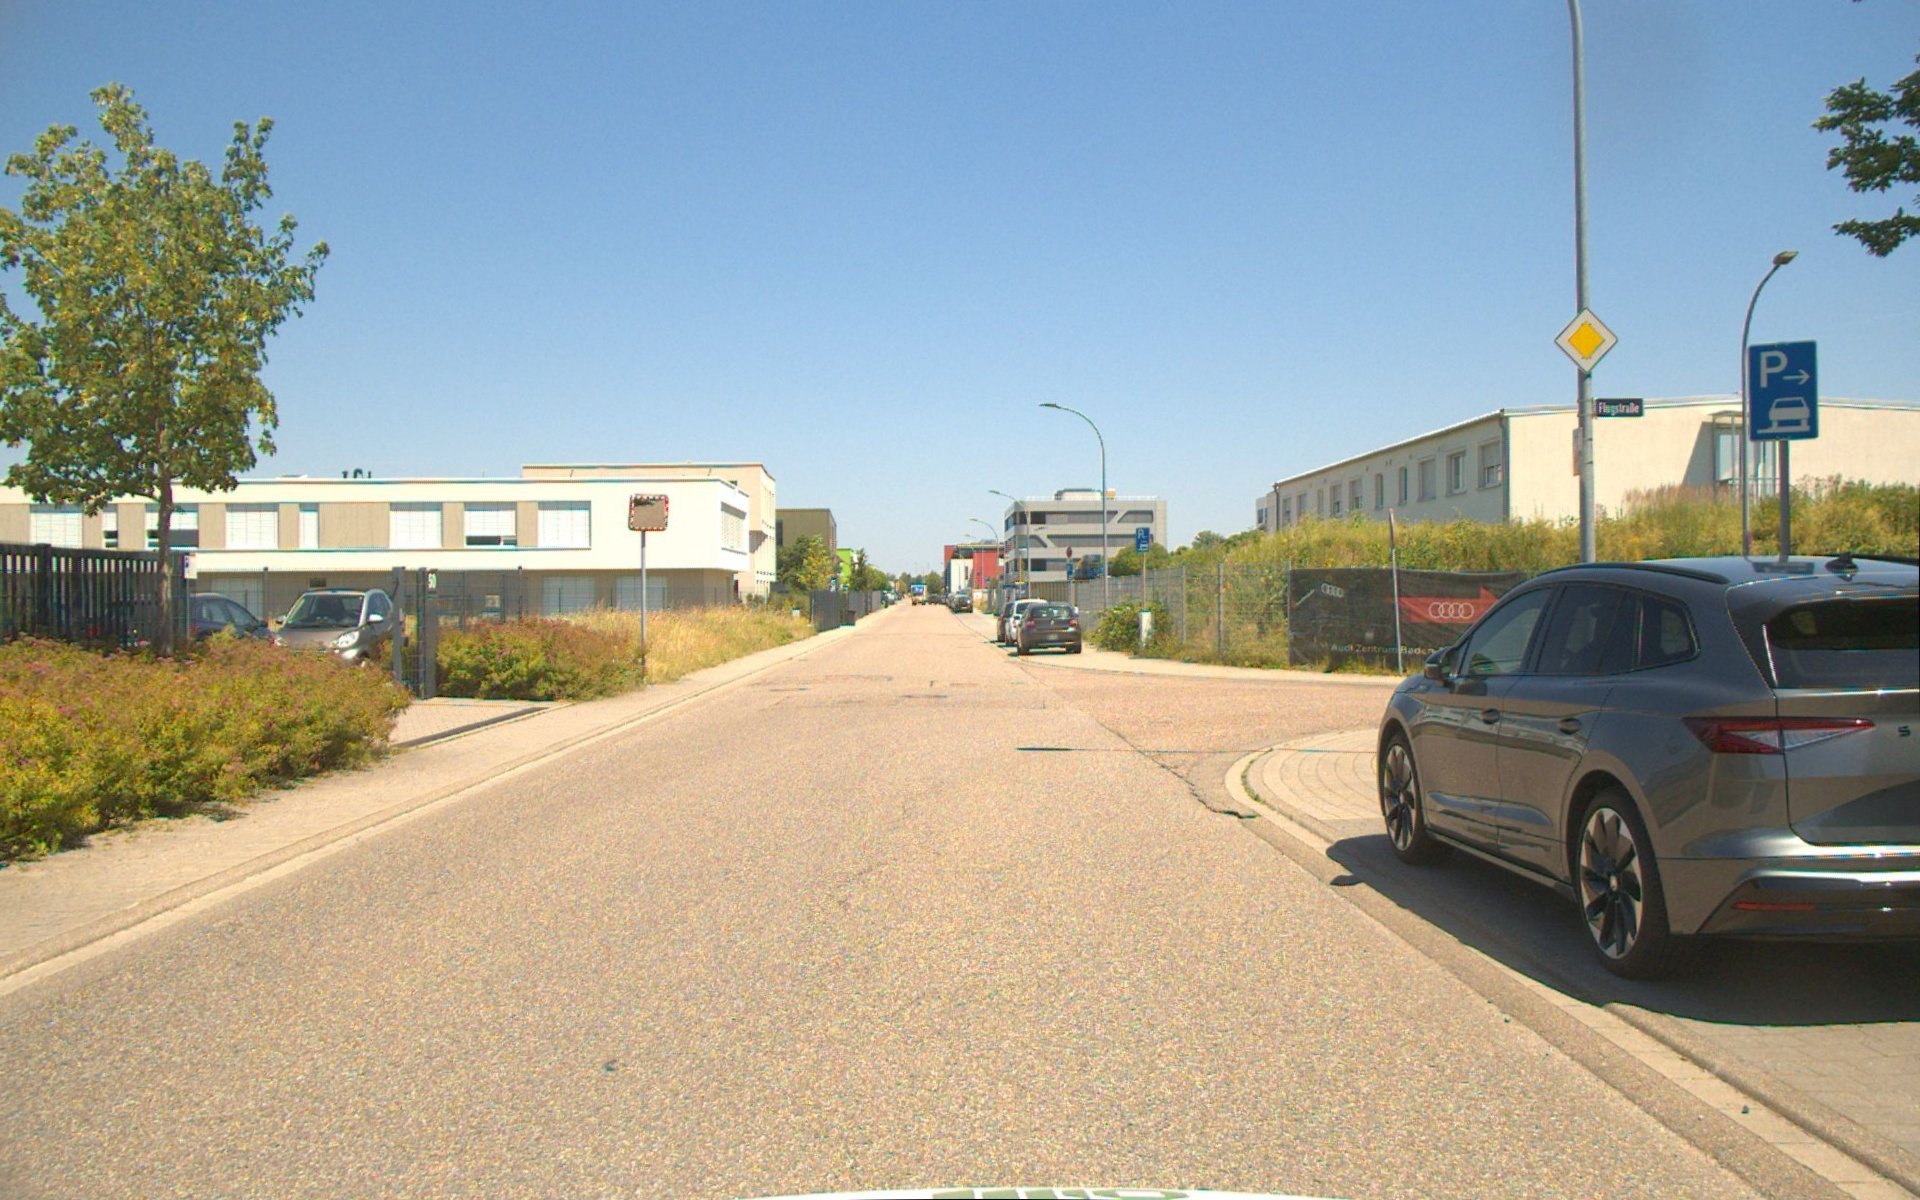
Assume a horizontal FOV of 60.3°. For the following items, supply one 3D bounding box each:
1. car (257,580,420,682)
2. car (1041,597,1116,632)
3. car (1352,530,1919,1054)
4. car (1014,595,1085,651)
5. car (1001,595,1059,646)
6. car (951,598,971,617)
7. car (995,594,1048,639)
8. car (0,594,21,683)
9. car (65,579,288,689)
[{"bbox_3d":[-10.042,0.468,26.942,1.666,1.547,2.995,0,0,-4],"label":"car"},{"bbox_3d":[7.426,0.906,103.959,4.529,2.049,2.607,2,0,2],"label":"car"},{"bbox_3d":[3.378,0.580,7.771,1.767,1.691,4.606,-3,1,-2],"label":"car"},{"bbox_3d":[2.502,0.617,47.112,1.868,1.473,4.001,-2,0,1],"label":"car"},{"bbox_3d":[2.340,0.662,56.019,1.868,1.573,4.001,-2,0,1],"label":"car"},{"bbox_3d":[0.075,0.679,158.080,1.740,1.758,3.999,1,0,-1],"label":"car"},{"bbox_3d":[2.294,0.603,62.476,1.868,1.573,4.001,-2,0,1],"label":"car"},{"bbox_3d":[-16.535,0.649,25.821,1.638,1.465,3.997,0,0,-4],"label":"car"},{"bbox_3d":[-12.160,0.480,25.976,1.789,1.568,3.997,0,0,-4],"label":"car"}]
